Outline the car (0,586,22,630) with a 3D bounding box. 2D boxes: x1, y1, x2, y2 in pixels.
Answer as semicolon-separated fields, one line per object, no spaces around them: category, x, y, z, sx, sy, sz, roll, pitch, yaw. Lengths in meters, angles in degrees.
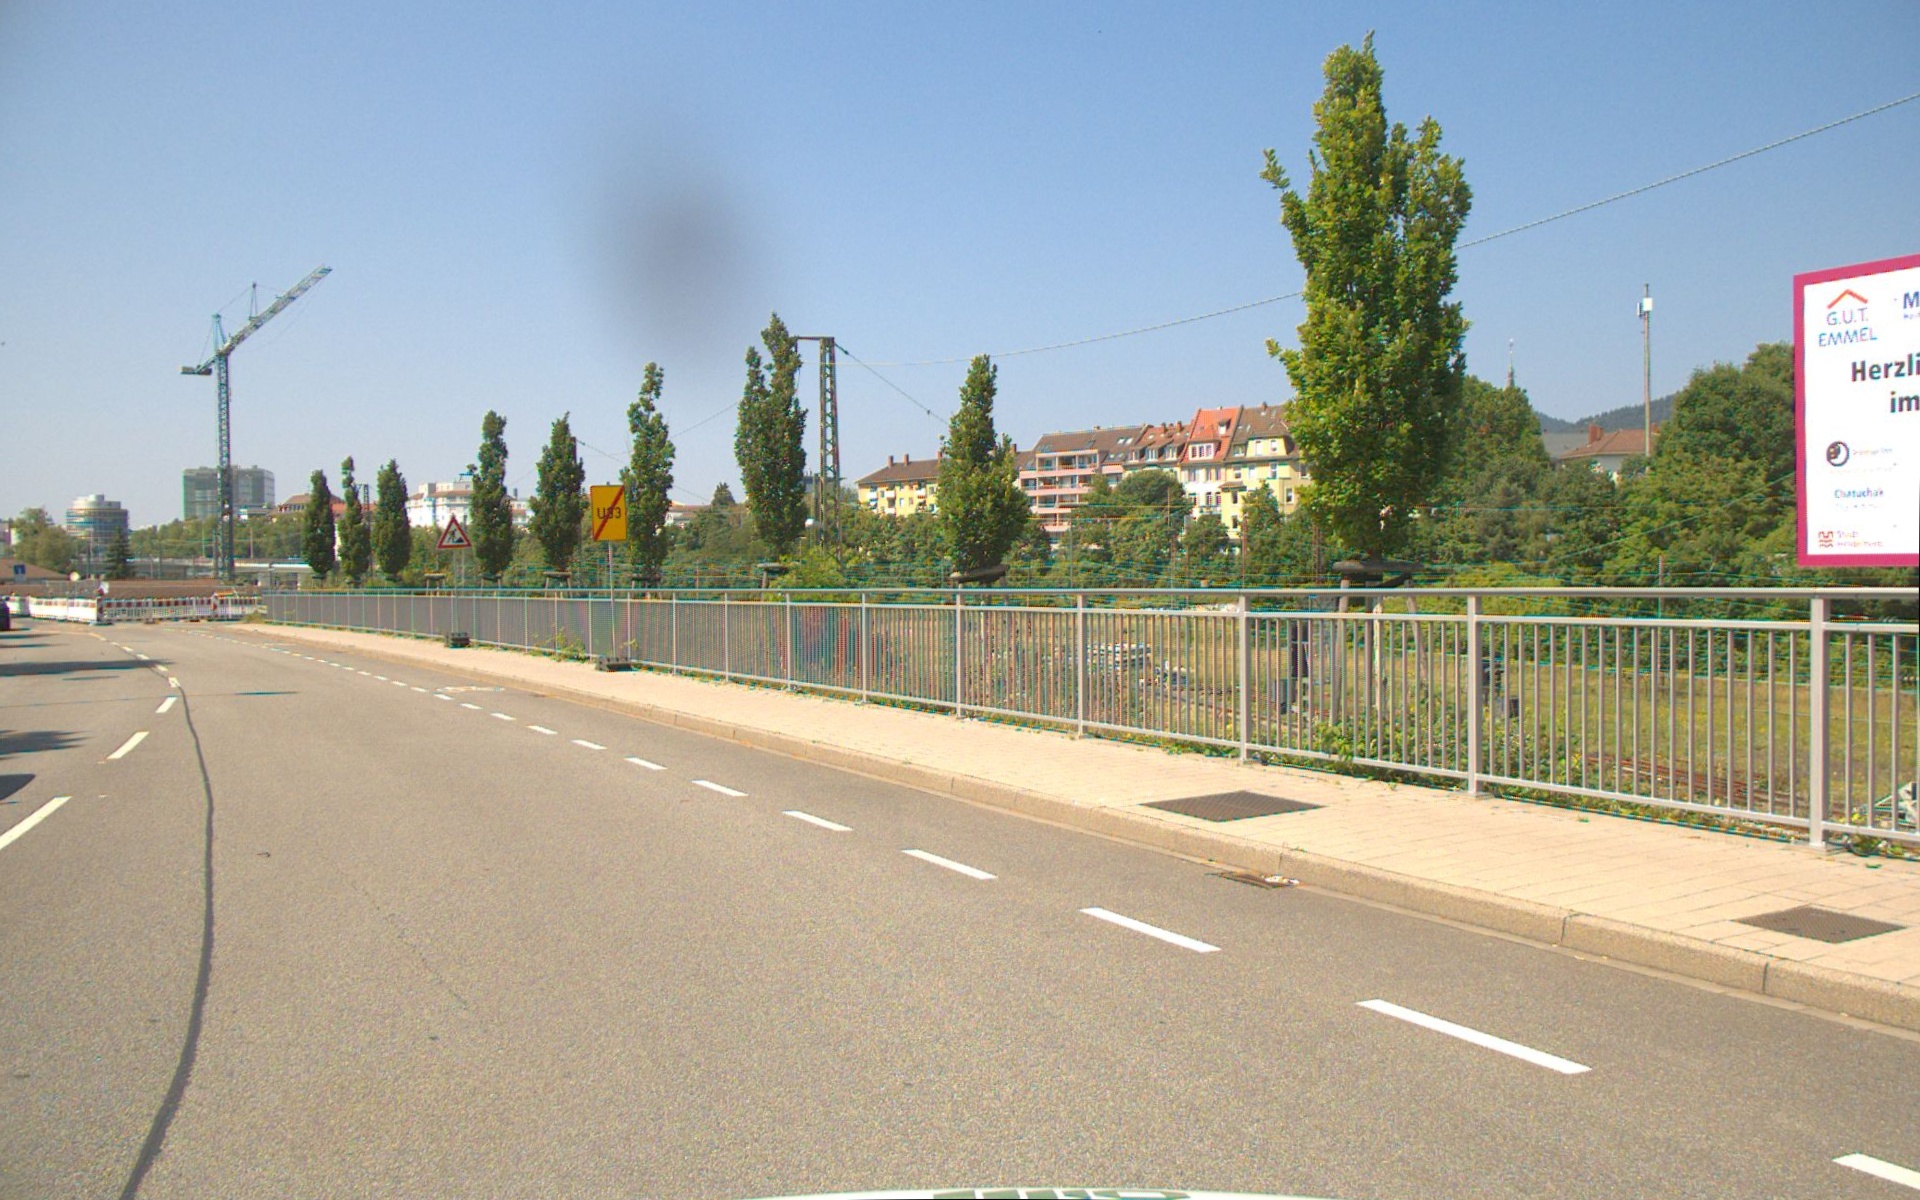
car;-39.055;0.309;66.327;1.936;1.724;4.553;-2;2;-37
